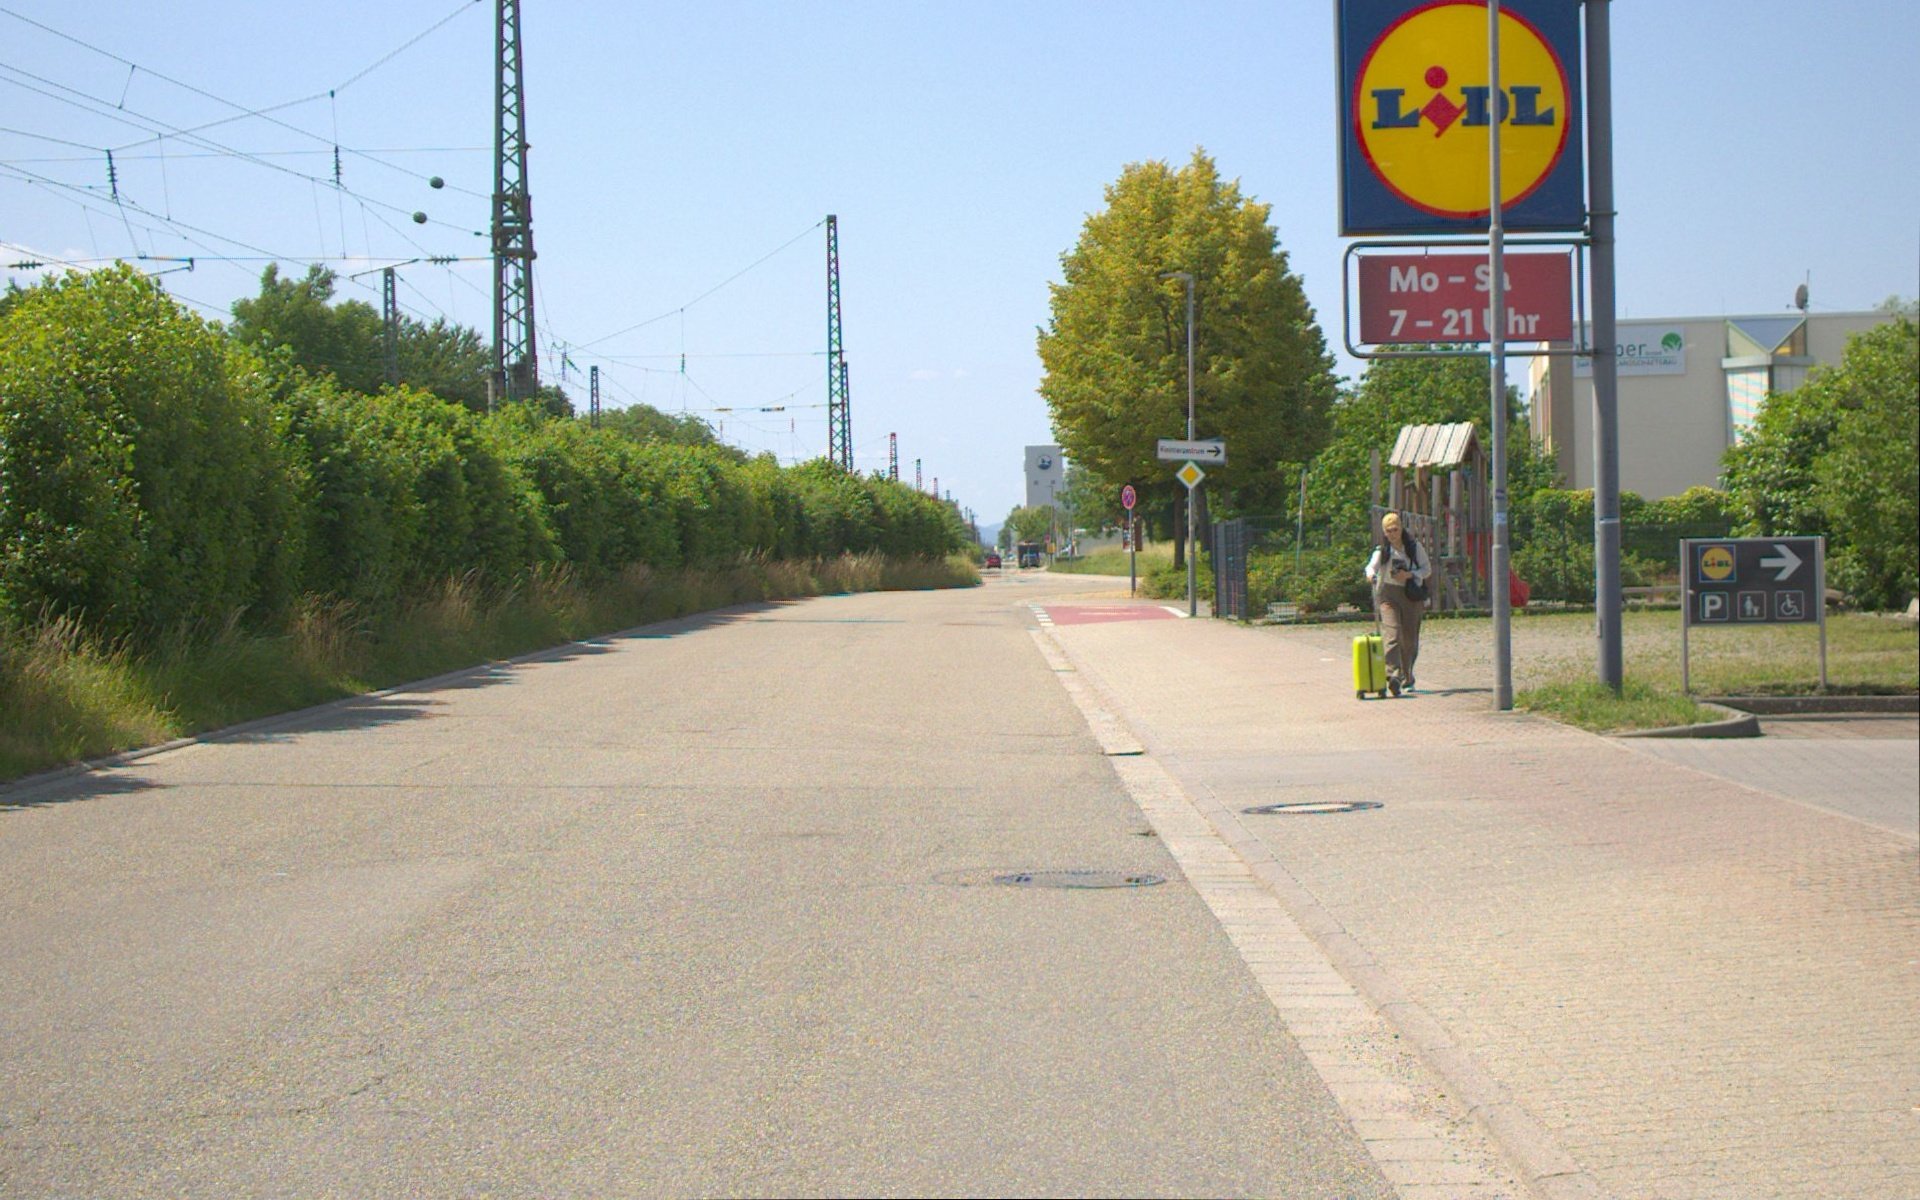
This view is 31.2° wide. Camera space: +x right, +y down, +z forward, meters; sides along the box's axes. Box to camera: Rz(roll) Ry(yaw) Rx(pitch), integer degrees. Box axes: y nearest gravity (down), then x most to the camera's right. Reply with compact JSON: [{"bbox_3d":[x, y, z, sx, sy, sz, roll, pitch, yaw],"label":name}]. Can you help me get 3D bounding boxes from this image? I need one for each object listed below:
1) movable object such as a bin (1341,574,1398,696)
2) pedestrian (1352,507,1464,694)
[{"bbox_3d":[3.539,0.301,29.703,0.374,1.026,0.499,-2,1,-4],"label":"movable object such as a bin"},{"bbox_3d":[3.929,-0.009,30.196,0.761,1.596,1.210,-1,1,-2],"label":"pedestrian"}]
